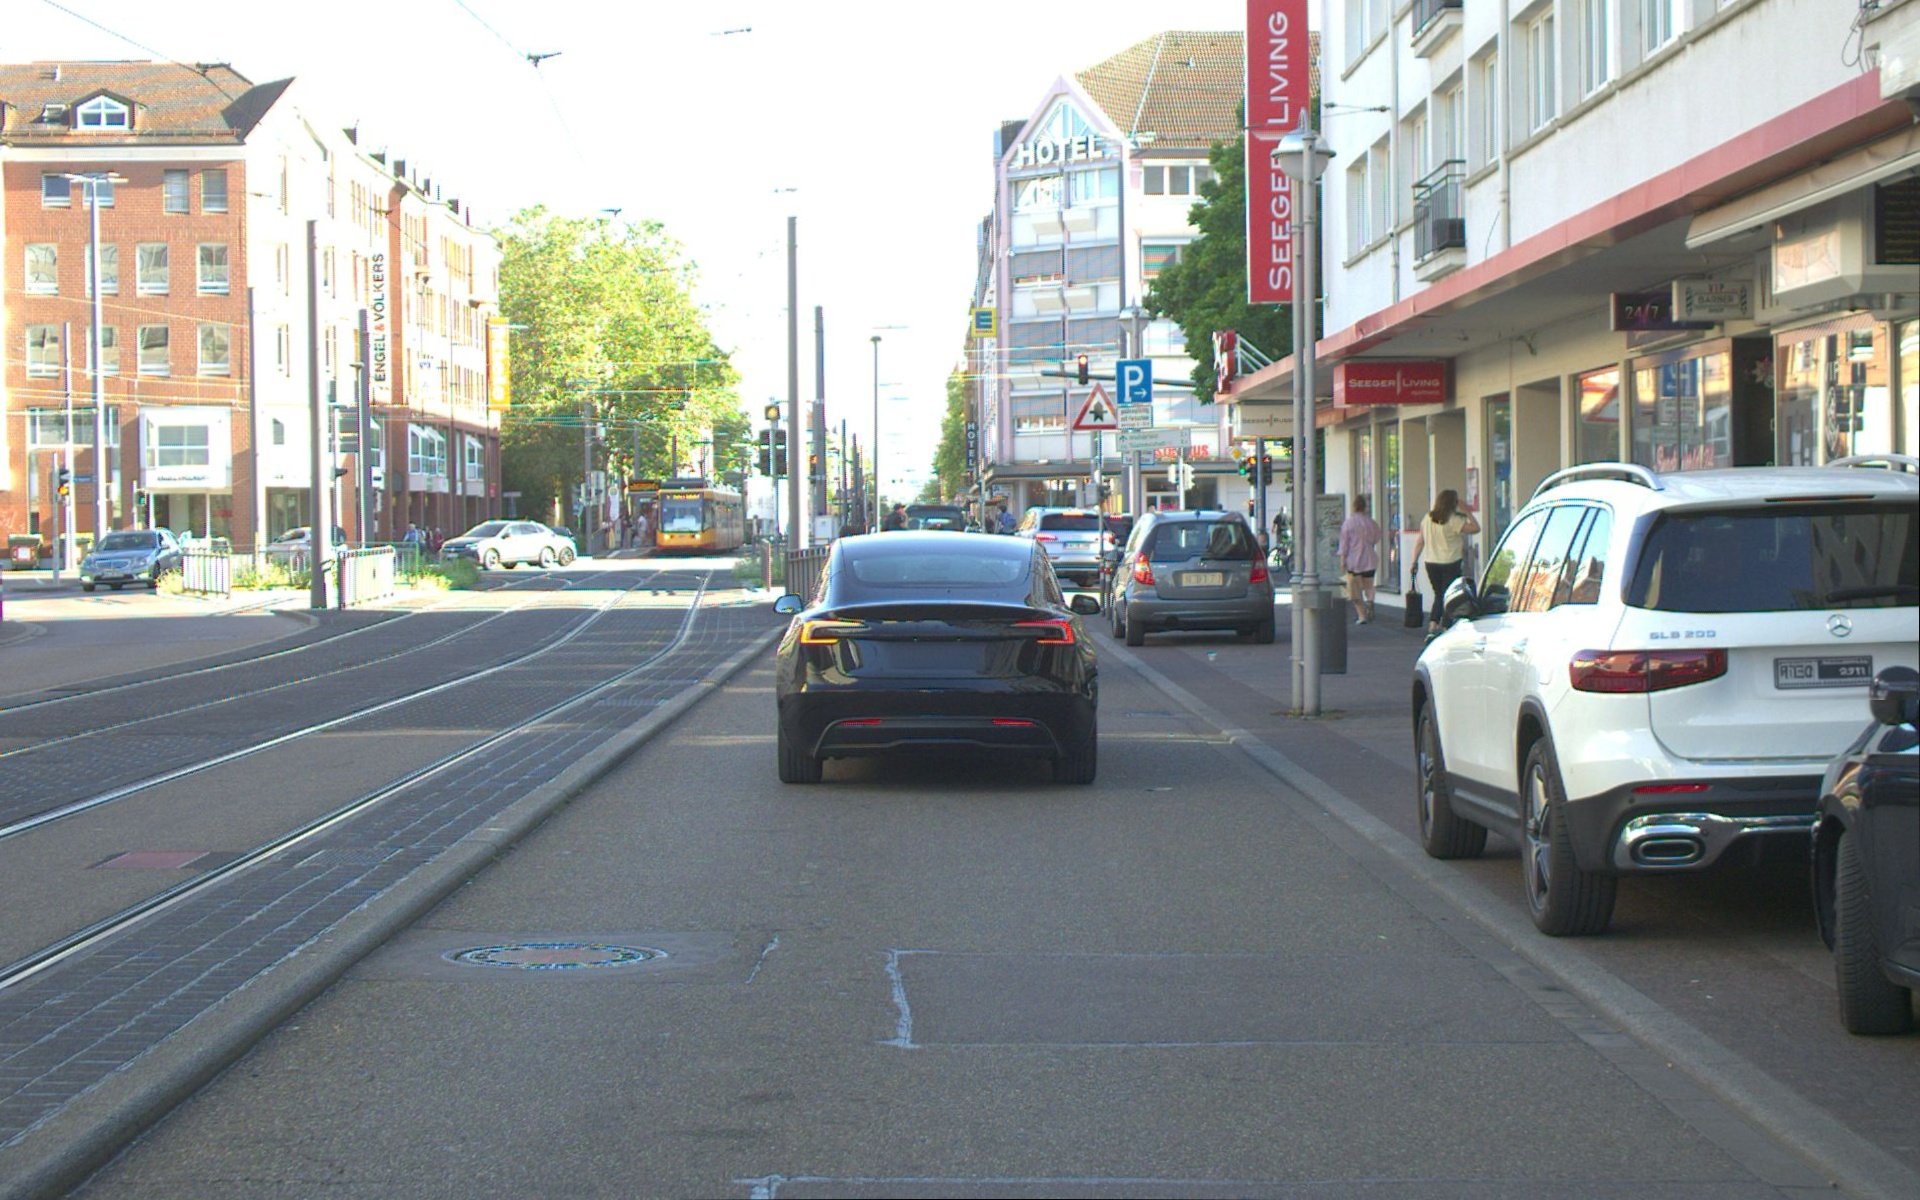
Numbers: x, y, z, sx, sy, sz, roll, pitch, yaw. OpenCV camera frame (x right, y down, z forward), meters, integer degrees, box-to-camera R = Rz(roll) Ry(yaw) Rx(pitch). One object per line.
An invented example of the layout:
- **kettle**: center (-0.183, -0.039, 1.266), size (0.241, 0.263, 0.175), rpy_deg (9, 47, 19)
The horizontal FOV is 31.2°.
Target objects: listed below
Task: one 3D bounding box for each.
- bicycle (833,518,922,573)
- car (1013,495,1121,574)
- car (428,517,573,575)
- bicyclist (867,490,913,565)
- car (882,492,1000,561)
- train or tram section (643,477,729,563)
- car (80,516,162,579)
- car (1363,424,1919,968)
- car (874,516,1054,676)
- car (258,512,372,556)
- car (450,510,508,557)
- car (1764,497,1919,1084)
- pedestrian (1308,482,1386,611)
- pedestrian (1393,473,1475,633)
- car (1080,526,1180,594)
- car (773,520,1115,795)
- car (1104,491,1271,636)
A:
- **bicycle**: center (-1.683, -1.113, 70.094), size (1.727, 1.084, 0.678), rpy_deg (1, 1, -8)
- **car**: center (2.139, -1.328, 69.656), size (1.783, 1.514, 4.219), rpy_deg (1, 1, -3)
- **car**: center (-14.240, -1.693, 106.638), size (3.988, 1.733, 2.000), rpy_deg (-2, 2, -37)
- **bicyclist**: center (-1.433, -1.479, 70.130), size (0.836, 1.494, 0.560), rpy_deg (1, 1, -8)
- **car**: center (-0.476, -1.727, 80.347), size (1.824, 1.514, 4.219), rpy_deg (1, 1, -13)
- **train or tram section**: center (-12.507, -3.647, 158.011), size (2.674, 3.703, 14.193), rpy_deg (1, 1, 0)
- **car**: center (-20.927, -1.332, 85.856), size (1.880, 1.490, 4.932), rpy_deg (-1, 1, -13)
- **car**: center (2.906, 0.243, 13.717), size (1.849, 1.718, 5.193), rpy_deg (-2, 1, -1)
- **car**: center (0.048, -0.089, 34.066), size (1.653, 1.413, 4.000), rpy_deg (1, 2, 0)
- **car**: center (-23.426, -2.397, 124.779), size (3.997, 1.465, 1.995), rpy_deg (2, 1, 42)
- **car**: center (-21.269, -2.958, 152.141), size (1.993, 2.007, 4.000), rpy_deg (1, 1, 0)
- **car**: center (3.290, 0.487, 8.396), size (1.614, 1.523, 4.071), rpy_deg (-1, 1, -1)
- **pedestrian**: center (5.152, -0.709, 45.738), size (0.818, 1.677, 0.714), rpy_deg (2, 1, 23)
- **pedestrian**: center (5.341, -0.531, 38.675), size (0.804, 1.768, 0.932), rpy_deg (0, 1, 14)
- **car**: center (3.989, -0.958, 81.130), size (1.824, 1.514, 3.650), rpy_deg (1, 1, -5)
- **car**: center (-0.135, 0.281, 20.706), size (1.849, 1.479, 3.787), rpy_deg (1, 1, -1)
- **car**: center (2.712, -0.482, 41.670), size (1.745, 1.626, 3.649), rpy_deg (-2, 2, 0)
